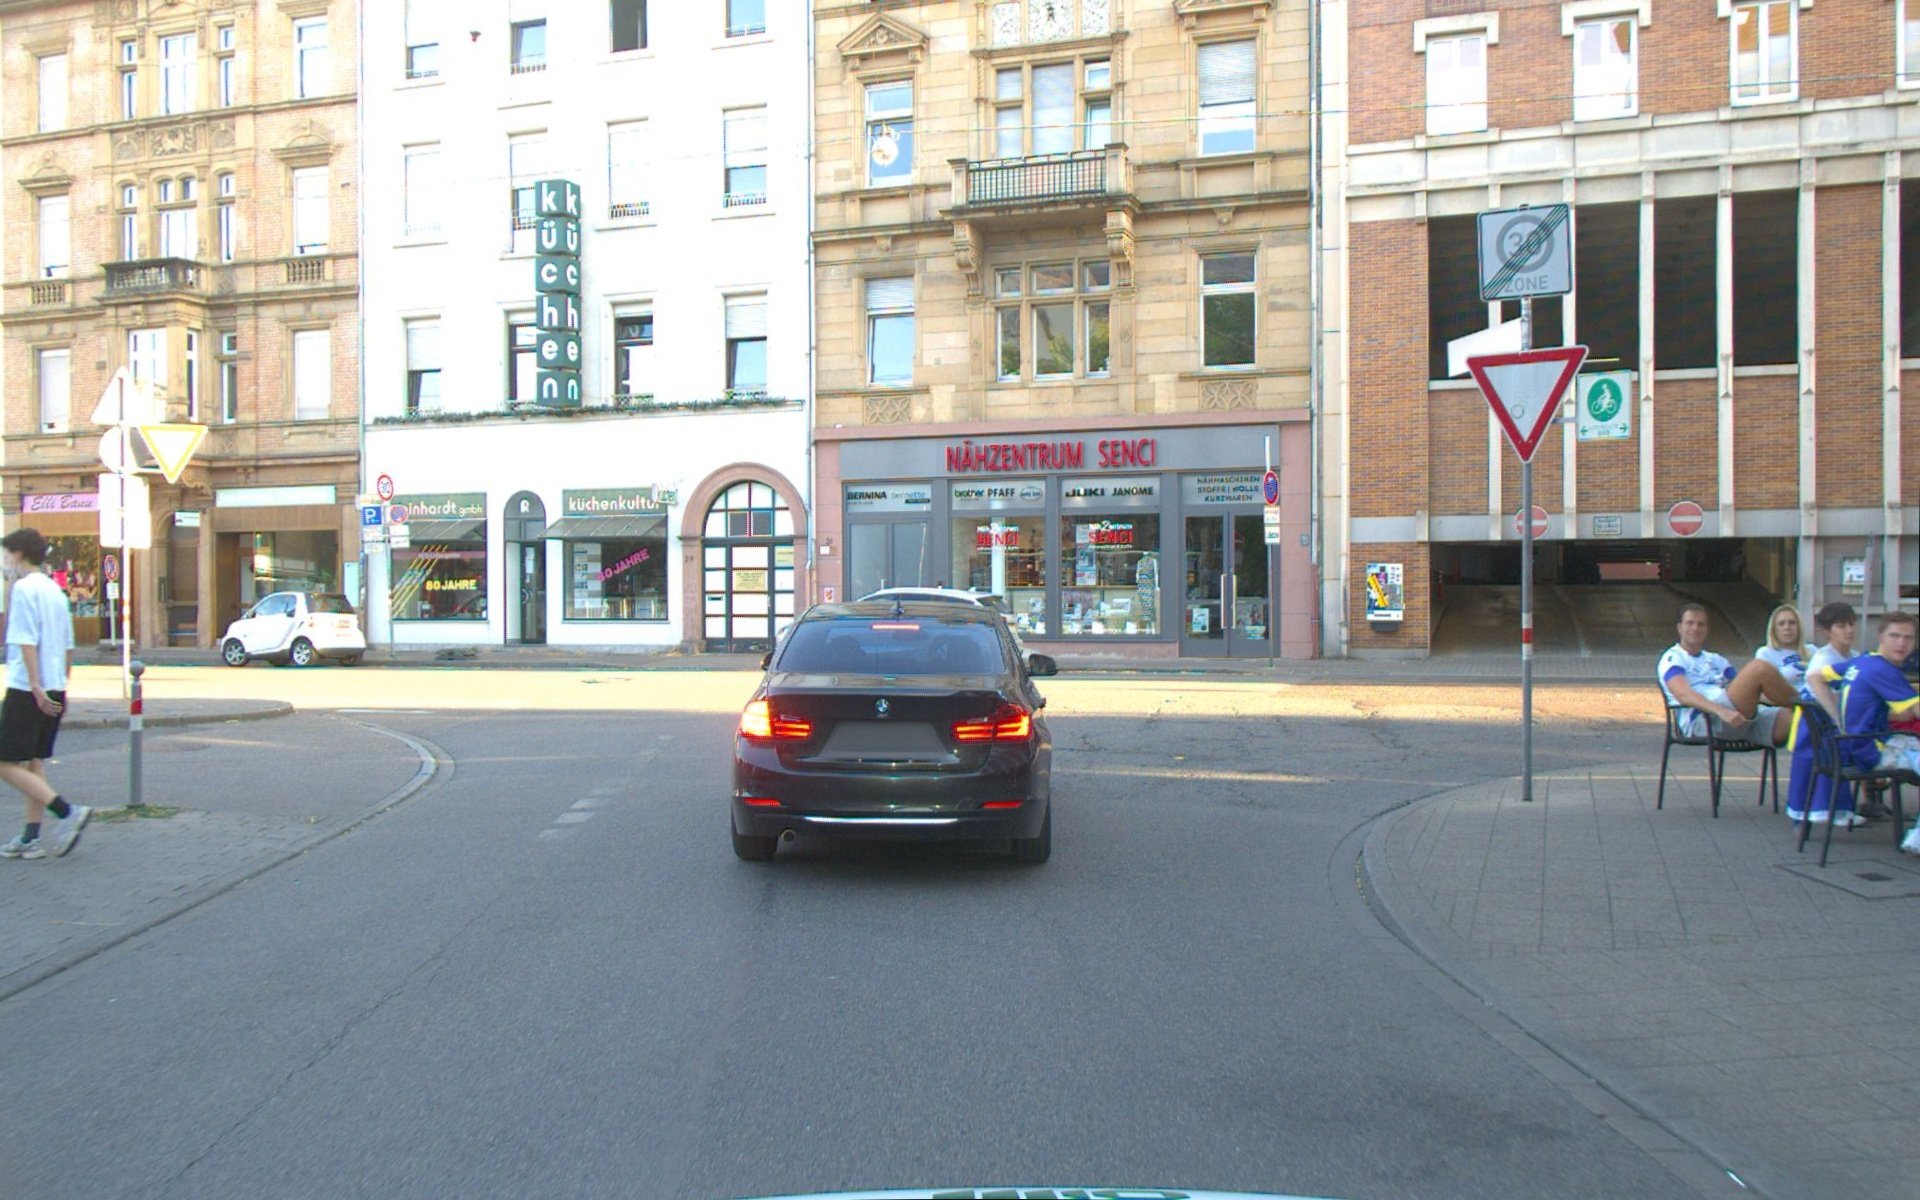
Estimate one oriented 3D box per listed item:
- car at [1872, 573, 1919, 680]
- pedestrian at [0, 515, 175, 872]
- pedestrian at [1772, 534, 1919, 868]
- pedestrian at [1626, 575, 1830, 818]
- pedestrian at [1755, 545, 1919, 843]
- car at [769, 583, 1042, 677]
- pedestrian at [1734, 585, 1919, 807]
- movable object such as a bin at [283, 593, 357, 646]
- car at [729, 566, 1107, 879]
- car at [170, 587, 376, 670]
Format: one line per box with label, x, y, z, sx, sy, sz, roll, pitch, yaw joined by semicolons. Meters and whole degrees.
car;15.903;0.380;24.517;3.904;1.546;2.001;0;1;21
pedestrian;-5.161;0.488;9.366;0.872;1.885;0.981;1;0;36
pedestrian;4.711;0.465;8.331;0.698;1.562;0.852;-4;0;-3
pedestrian;4.722;0.568;10.191;0.760;1.406;0.831;-1;-1;-30
pedestrian;4.834;0.494;9.069;0.697;1.563;0.690;-1;0;13
car;-0.978;0.504;30.186;4.569;1.562;2.001;1;0;19
pedestrian;5.496;0.579;10.329;0.676;1.304;0.958;0;-2;-29
movable object such as a bin;-14.983;0.453;38.728;1.364;1.207;0.869;0;0;20
car;-0.268;0.614;10.229;1.850;1.518;4.203;0;0;-2
car;-14.502;0.571;34.943;3.904;1.612;1.706;1;1;20
